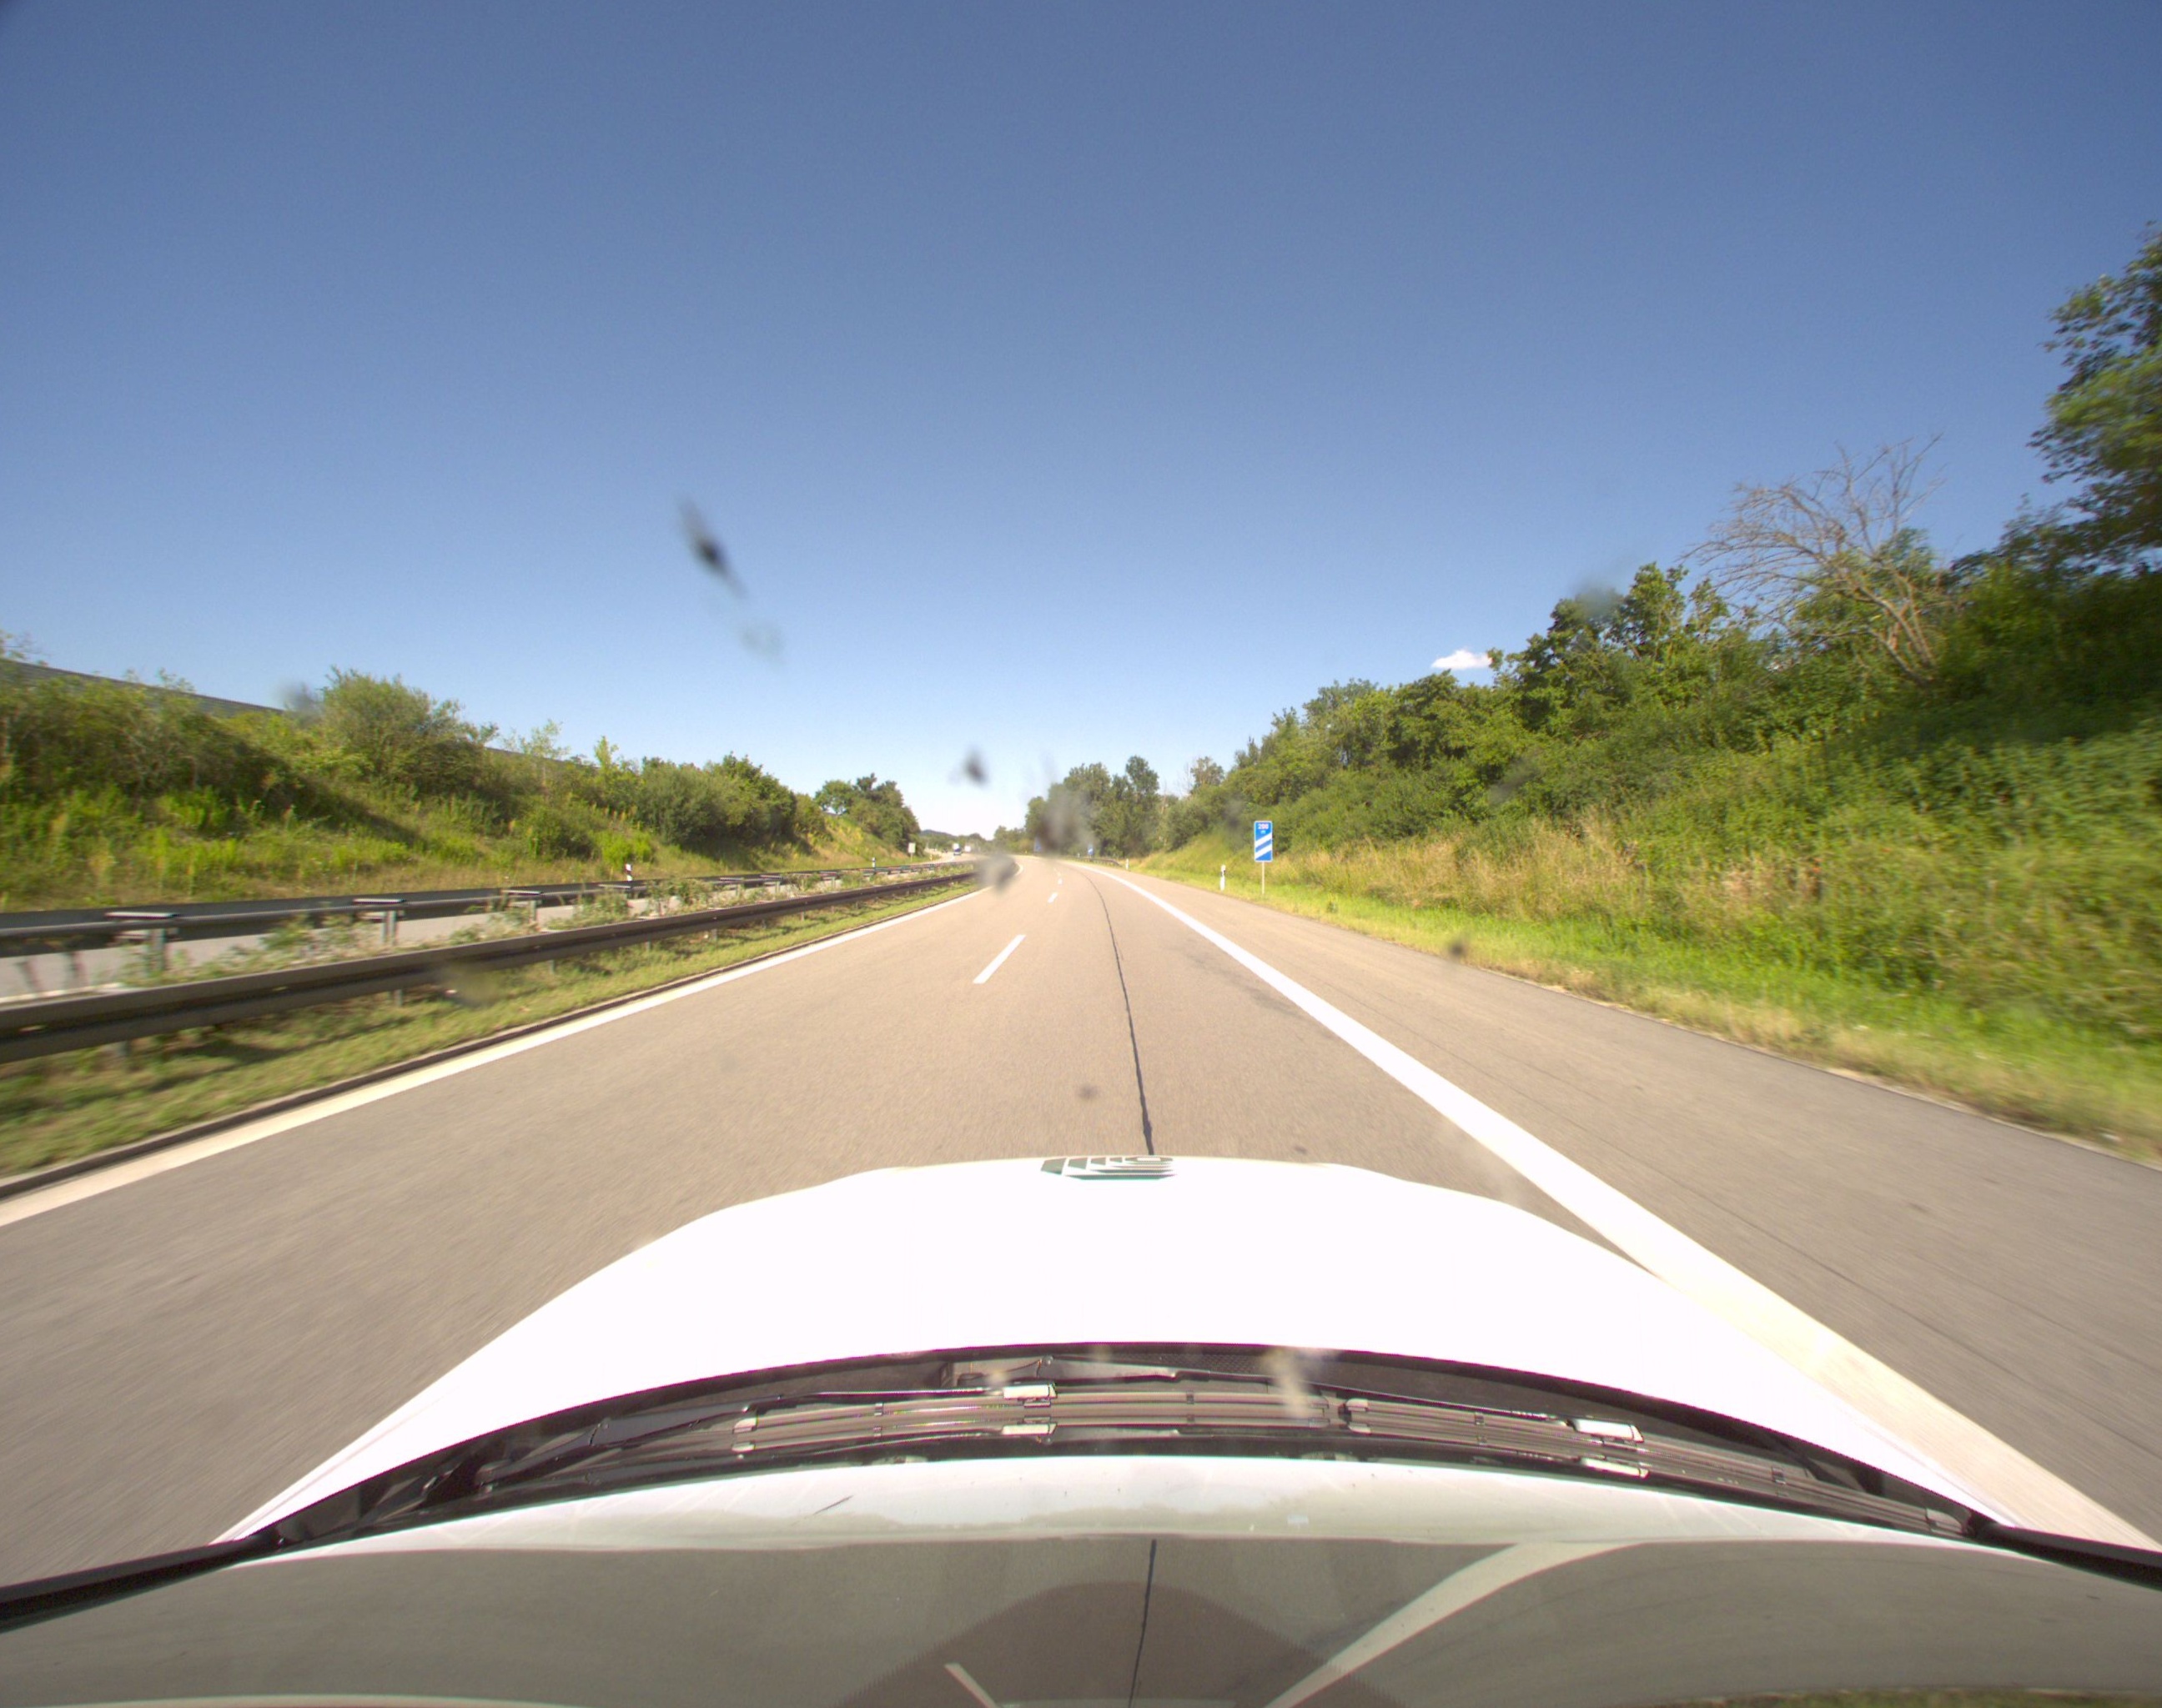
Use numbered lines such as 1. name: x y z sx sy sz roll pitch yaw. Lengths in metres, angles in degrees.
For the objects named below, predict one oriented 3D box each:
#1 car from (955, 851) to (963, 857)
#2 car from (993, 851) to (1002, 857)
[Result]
1. car: -30.879 0.005 206.795 1.817 1.480 4.676 0 0 -6
2. car: -22.103 -0.004 215.848 2.063 1.625 3.983 1 -2 -12
